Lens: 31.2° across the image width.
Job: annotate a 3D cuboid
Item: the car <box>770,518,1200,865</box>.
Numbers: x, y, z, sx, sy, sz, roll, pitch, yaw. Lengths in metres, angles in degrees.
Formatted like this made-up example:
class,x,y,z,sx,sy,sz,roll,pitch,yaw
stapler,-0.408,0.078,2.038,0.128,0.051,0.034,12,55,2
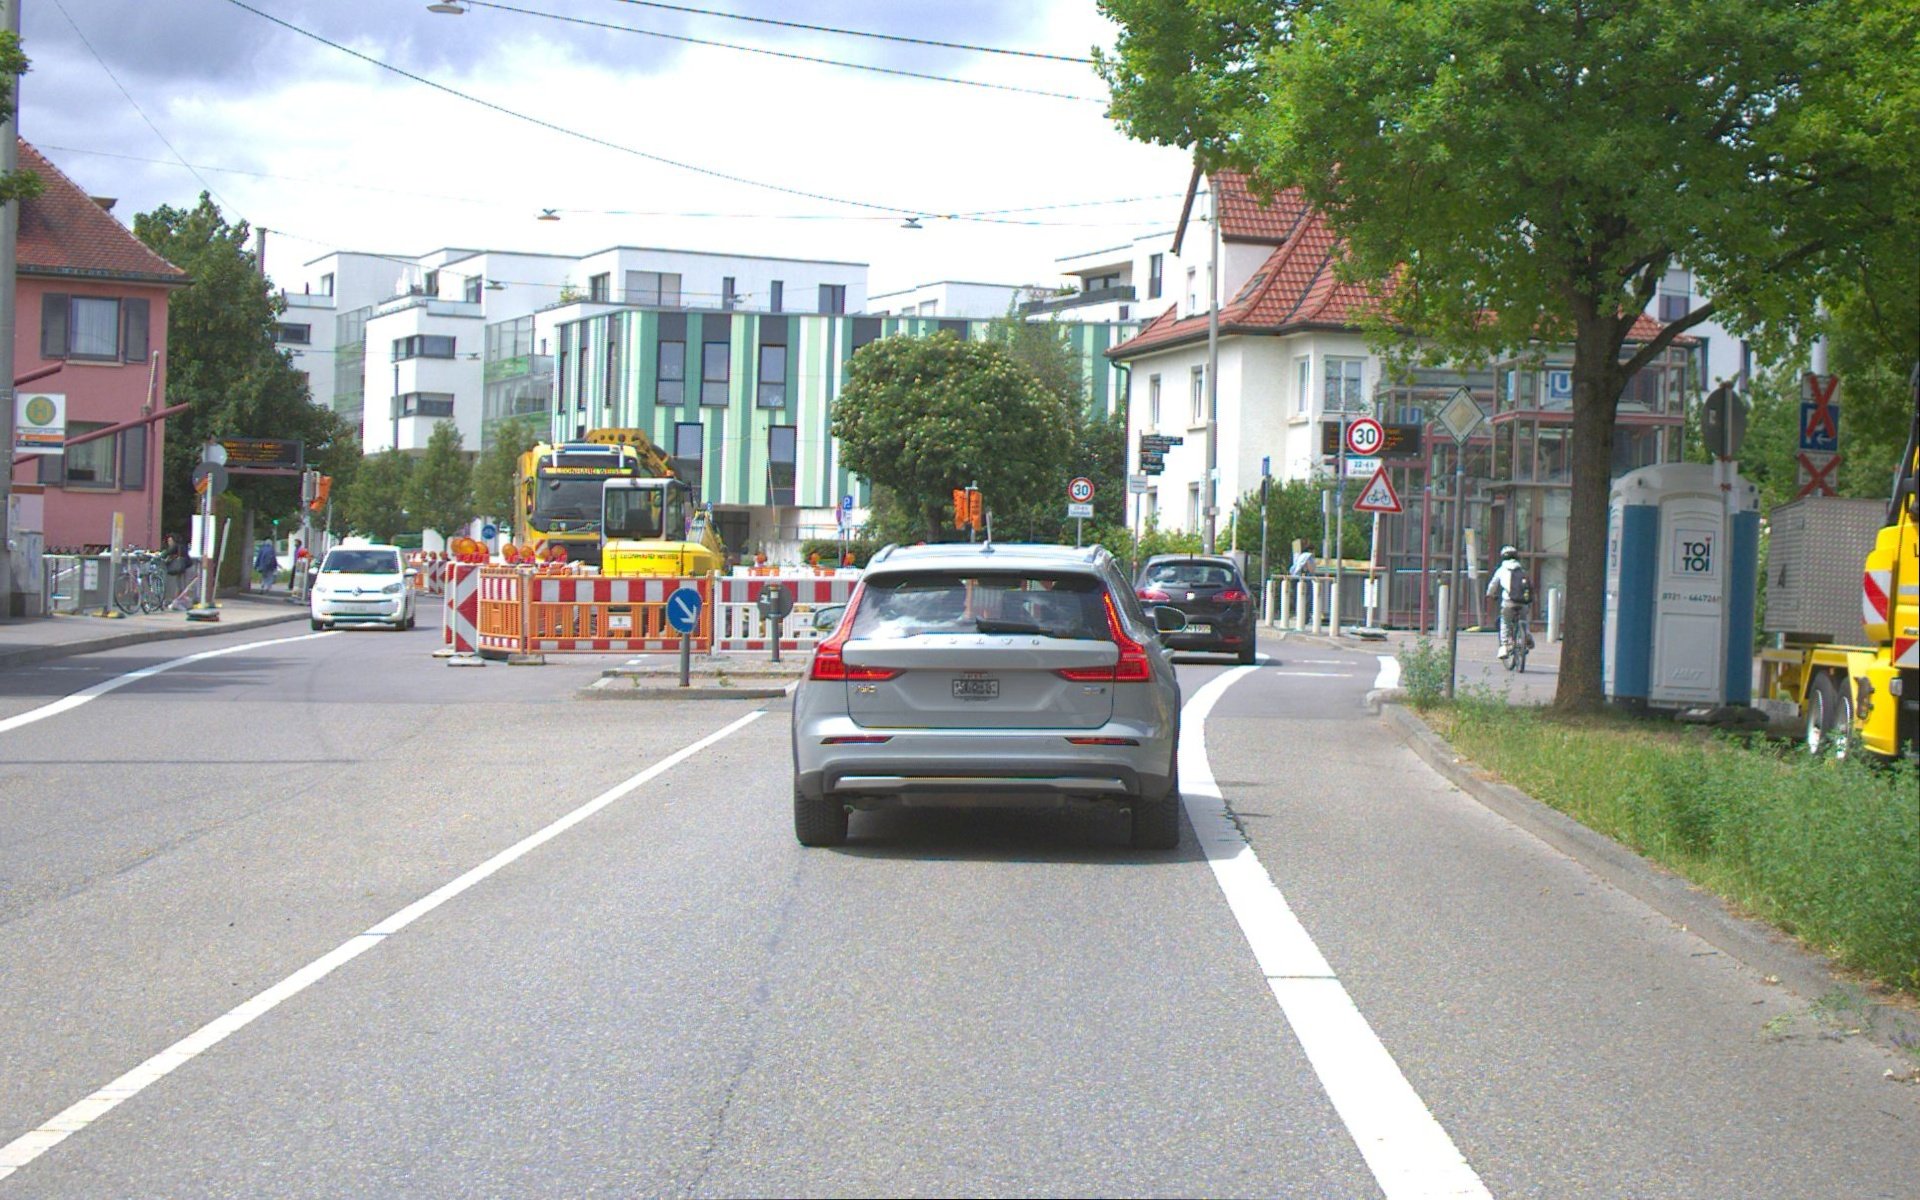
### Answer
class,x,y,z,sx,sy,sz,roll,pitch,yaw
car,0.222,0.379,17.617,1.928,1.535,4.000,1,1,3

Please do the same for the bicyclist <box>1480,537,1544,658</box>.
class,x,y,z,sx,sy,sz,roll,pitch,yaw
bicyclist,7.304,-0.030,45.506,0.589,1.553,0.567,4,-1,-8

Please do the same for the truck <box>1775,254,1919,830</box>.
class,x,y,z,sx,sy,sz,roll,pitch,yaw
truck,7.873,-0.103,17.185,6.702,2.998,2.763,4,-1,42

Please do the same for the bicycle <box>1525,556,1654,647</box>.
class,x,y,z,sx,sy,sz,roll,pitch,yaw
bicycle,10.068,-0.001,55.147,1.391,1.186,3.472,4,3,1

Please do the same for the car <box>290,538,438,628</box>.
class,x,y,z,sx,sy,sz,roll,pitch,yaw
car,-10.422,-0.270,60.361,1.888,1.503,4.000,0,-1,0

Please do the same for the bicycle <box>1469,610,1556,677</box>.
class,x,y,z,sx,sy,sz,roll,pitch,yaw
bicycle,7.282,0.566,45.391,0.594,0.809,1.754,4,0,-8

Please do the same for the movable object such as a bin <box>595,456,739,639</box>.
class,x,y,z,sx,sy,sz,roll,pitch,yaw
movable object such as a bin,-4.520,-0.833,53.465,2.034,2.634,5.941,2,1,-4

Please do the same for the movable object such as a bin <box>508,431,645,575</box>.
class,x,y,z,sx,sy,sz,roll,pitch,yaw
movable object such as a bin,-8.514,-2.112,75.801,2.310,2.980,6.429,1,1,-12

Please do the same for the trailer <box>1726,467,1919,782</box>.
class,x,y,z,sx,sy,sz,roll,pitch,yaw
trailer,7.335,0.191,24.898,2.389,2.025,5.512,3,0,2

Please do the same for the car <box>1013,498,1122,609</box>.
class,x,y,z,sx,sy,sz,roll,pitch,yaw
car,2.225,-0.919,70.118,1.994,2.007,3.999,4,-1,3
